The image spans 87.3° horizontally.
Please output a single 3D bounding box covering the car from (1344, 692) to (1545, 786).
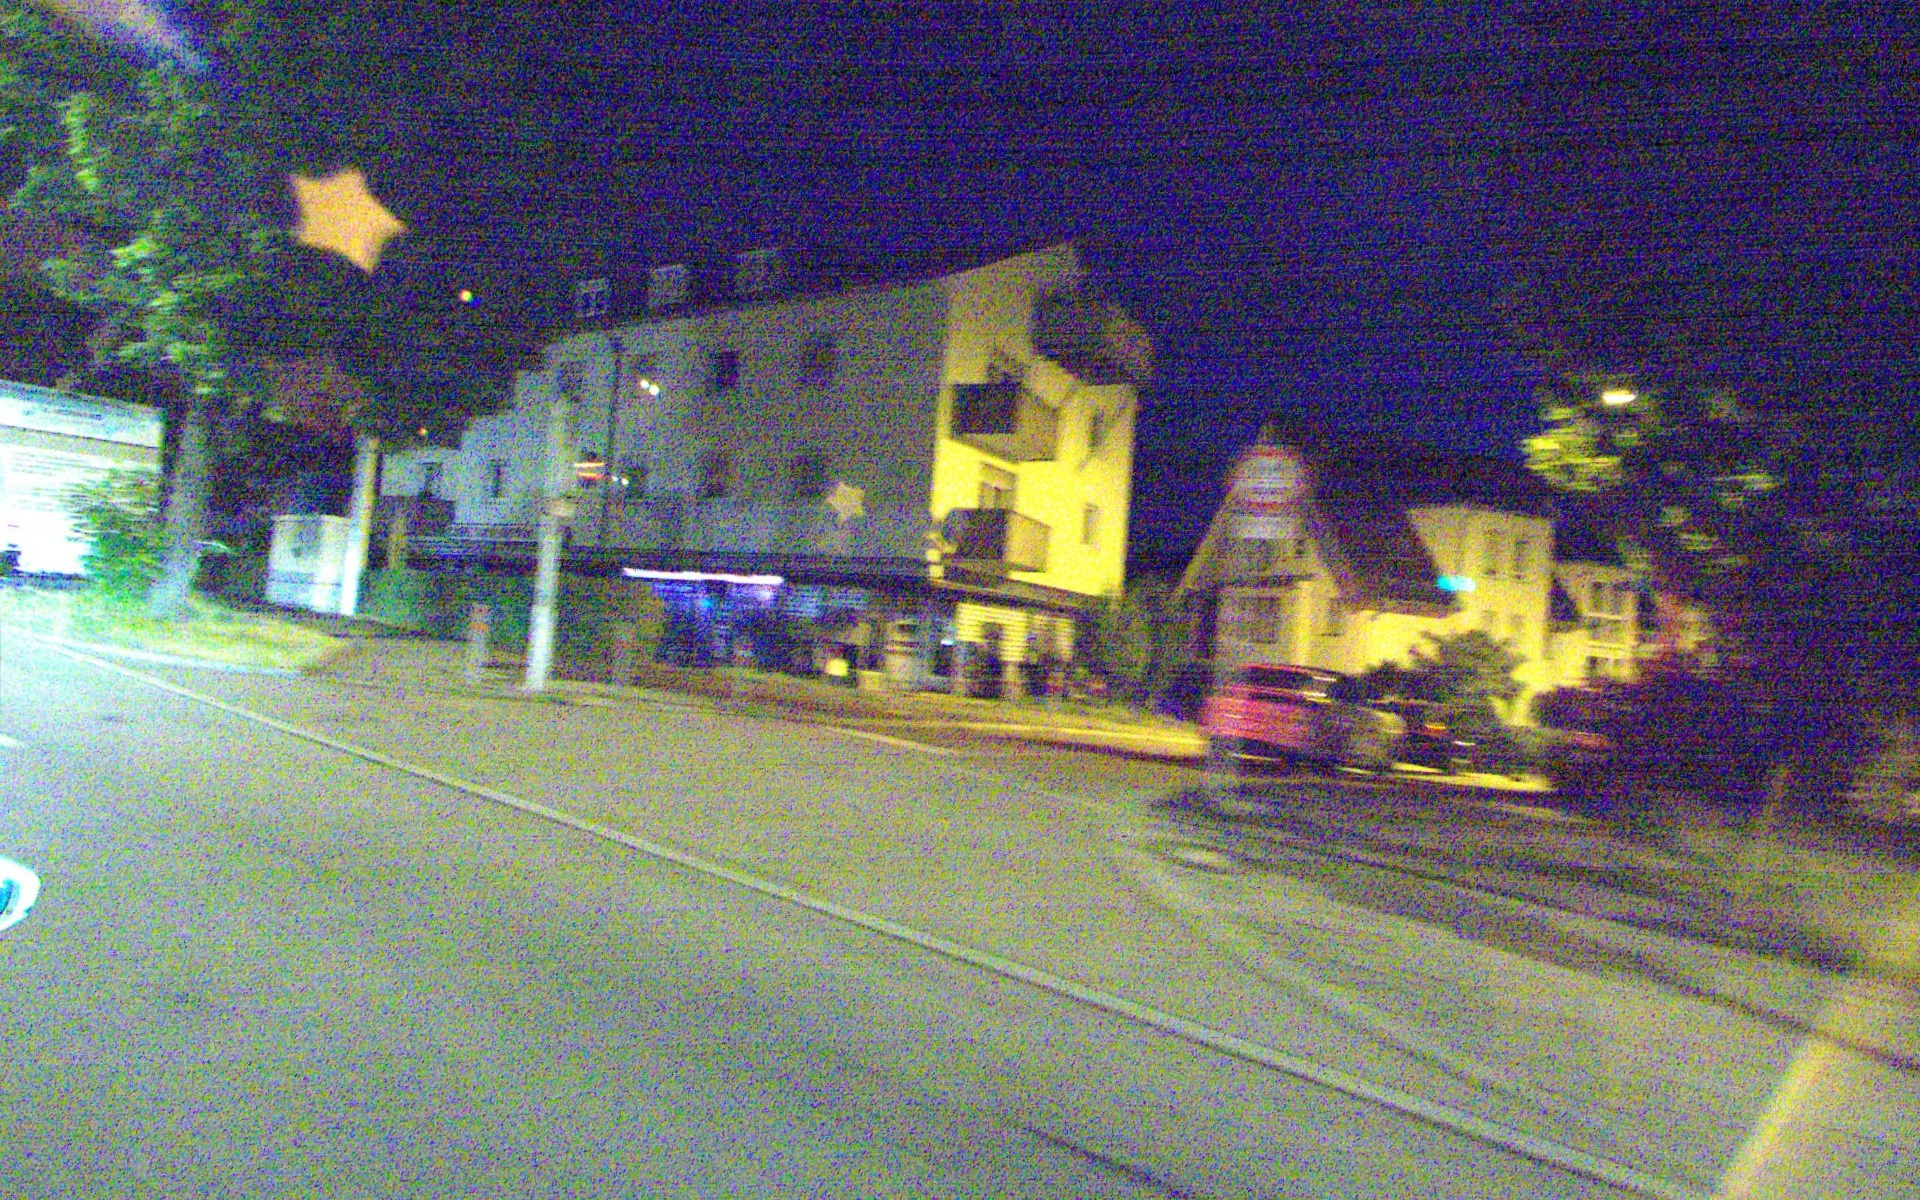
[{"bbox_3d":[9.678,2.781,20.006,4.044,1.402,1.863,10,-4,-36],"label":"car"}]

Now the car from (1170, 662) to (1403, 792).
[{"bbox_3d":[5.329,2.040,16.062,2.024,1.572,4.241,5,-4,40],"label":"car"}]

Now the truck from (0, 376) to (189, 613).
[{"bbox_3d":[-15.493,-1.738,15.936,6.919,3.083,2.766,6,1,32],"label":"truck"}]
